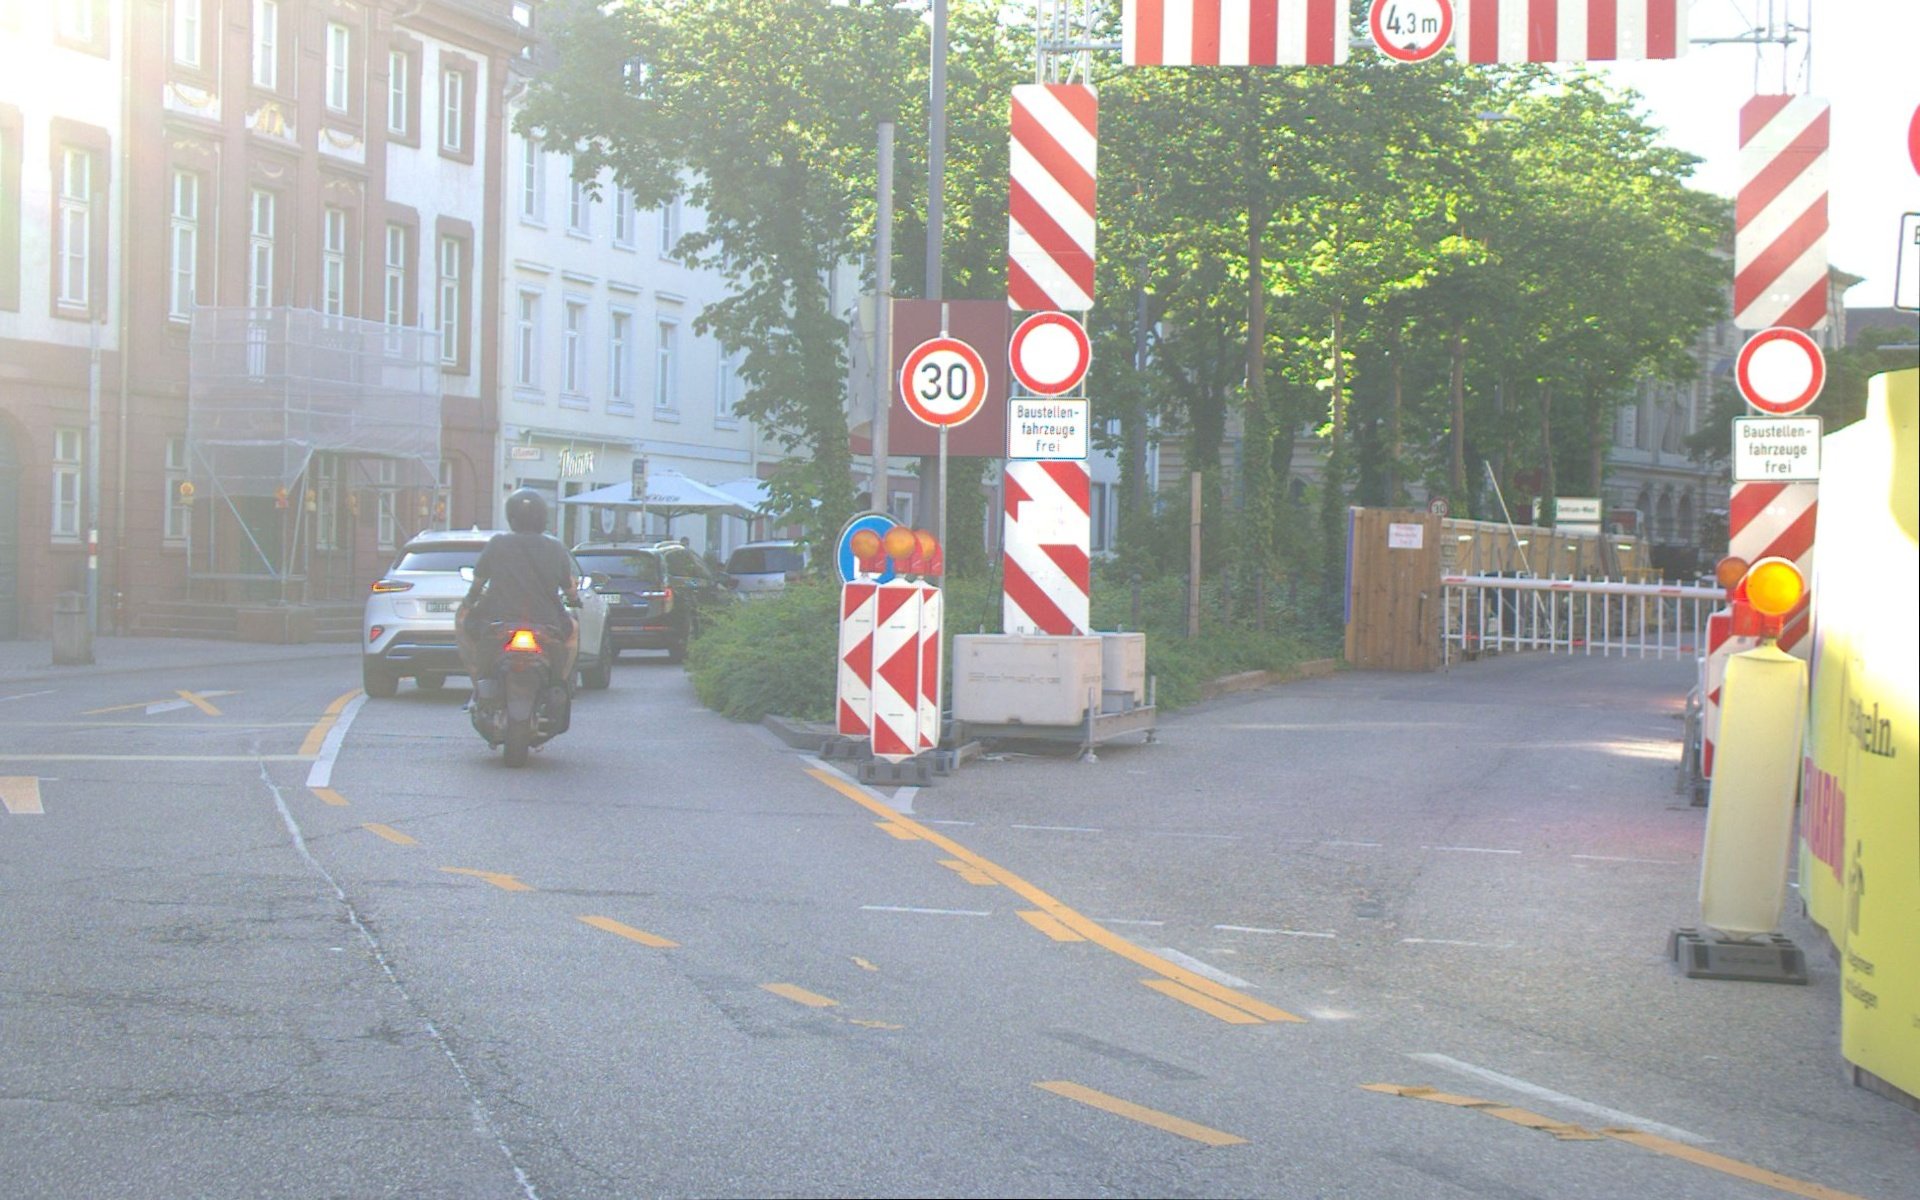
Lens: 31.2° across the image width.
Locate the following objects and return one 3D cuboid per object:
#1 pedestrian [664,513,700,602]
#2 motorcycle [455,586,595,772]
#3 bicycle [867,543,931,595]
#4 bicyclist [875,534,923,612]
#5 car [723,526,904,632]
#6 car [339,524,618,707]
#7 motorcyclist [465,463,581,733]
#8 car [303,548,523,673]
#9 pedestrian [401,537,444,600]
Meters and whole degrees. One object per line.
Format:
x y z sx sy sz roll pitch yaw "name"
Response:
-5.568 -0.843 68.821 0.438 1.769 0.596 1 0 29 "pedestrian"
-2.702 0.469 21.387 0.796 1.062 1.725 2 1 -7 "motorcycle"
-1.260 -0.645 71.397 0.772 1.059 2.076 1 1 15 "bicycle"
-1.266 -0.560 71.424 0.744 1.578 0.794 2 1 16 "bicyclist"
-2.479 -0.356 59.294 1.842 1.707 4.054 2 1 17 "car"
-4.269 0.100 31.031 1.851 1.475 4.057 2 1 1 "car"
-2.740 -0.017 21.601 0.657 1.645 0.651 2 1 -6 "motorcyclist"
-6.976 0.106 44.206 1.840 1.458 4.057 2 1 5 "car"
-9.172 -0.540 58.700 0.537 1.049 0.551 2 1 12 "pedestrian"
